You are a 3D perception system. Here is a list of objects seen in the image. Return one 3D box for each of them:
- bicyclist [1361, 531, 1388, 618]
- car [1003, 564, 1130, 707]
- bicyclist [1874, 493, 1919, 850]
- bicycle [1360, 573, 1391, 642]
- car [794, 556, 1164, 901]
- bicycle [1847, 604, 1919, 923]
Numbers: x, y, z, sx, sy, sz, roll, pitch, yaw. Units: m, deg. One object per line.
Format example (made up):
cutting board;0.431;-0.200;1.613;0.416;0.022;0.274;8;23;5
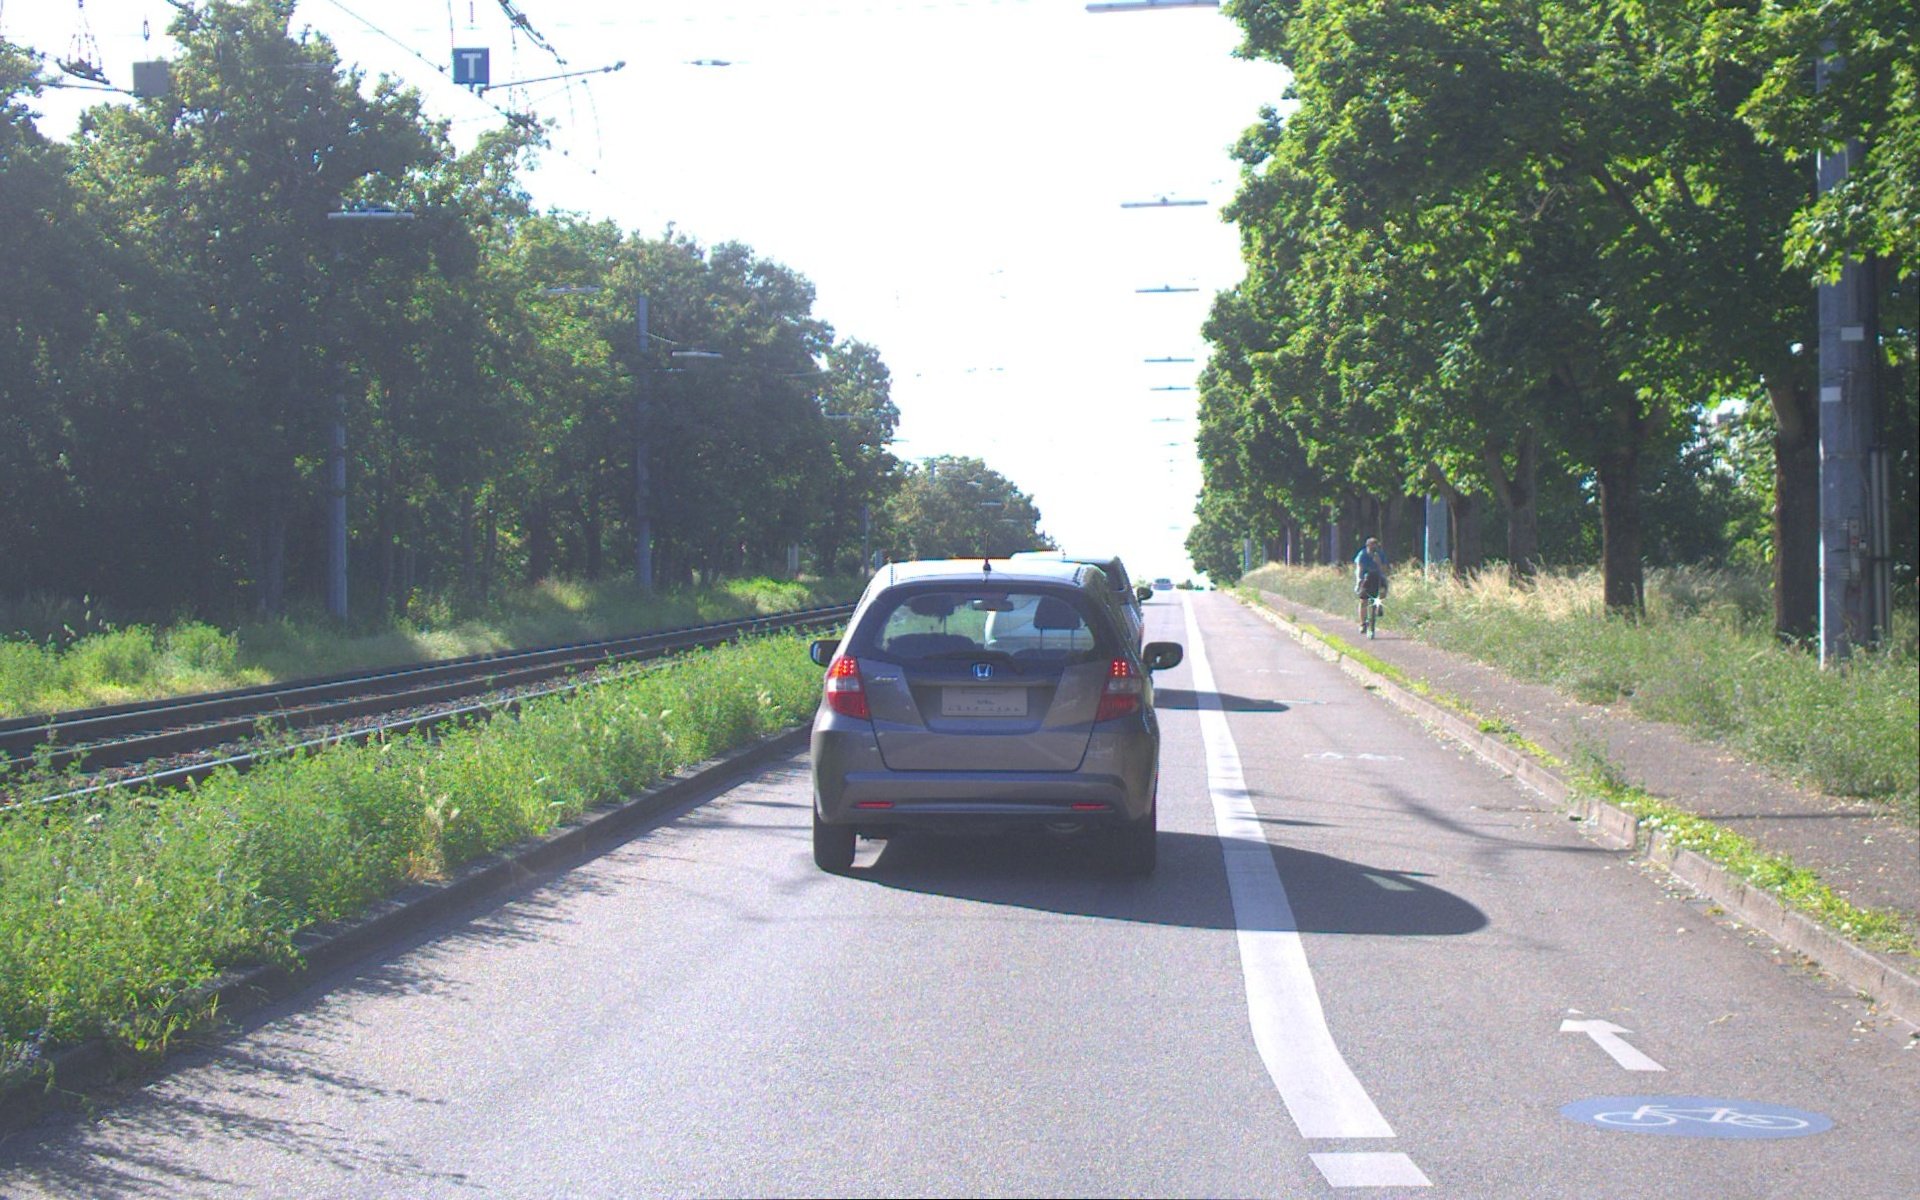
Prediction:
bicyclist;7.249;-0.445;60.143;0.405;1.501;0.574;-1;1;3
car;1.222;0.392;38.436;1.351;1.522;3.123;0;-1;3
bicyclist;4.030;0.264;13.248;0.755;1.363;0.806;-1;1;-3
bicycle;7.251;0.124;60.064;0.418;1.184;1.721;0;1;3
car;0.166;0.570;17.735;1.671;1.510;3.673;2;1;3
bicycle;4.004;0.663;12.847;0.619;1.186;2.506;-4;3;-1
